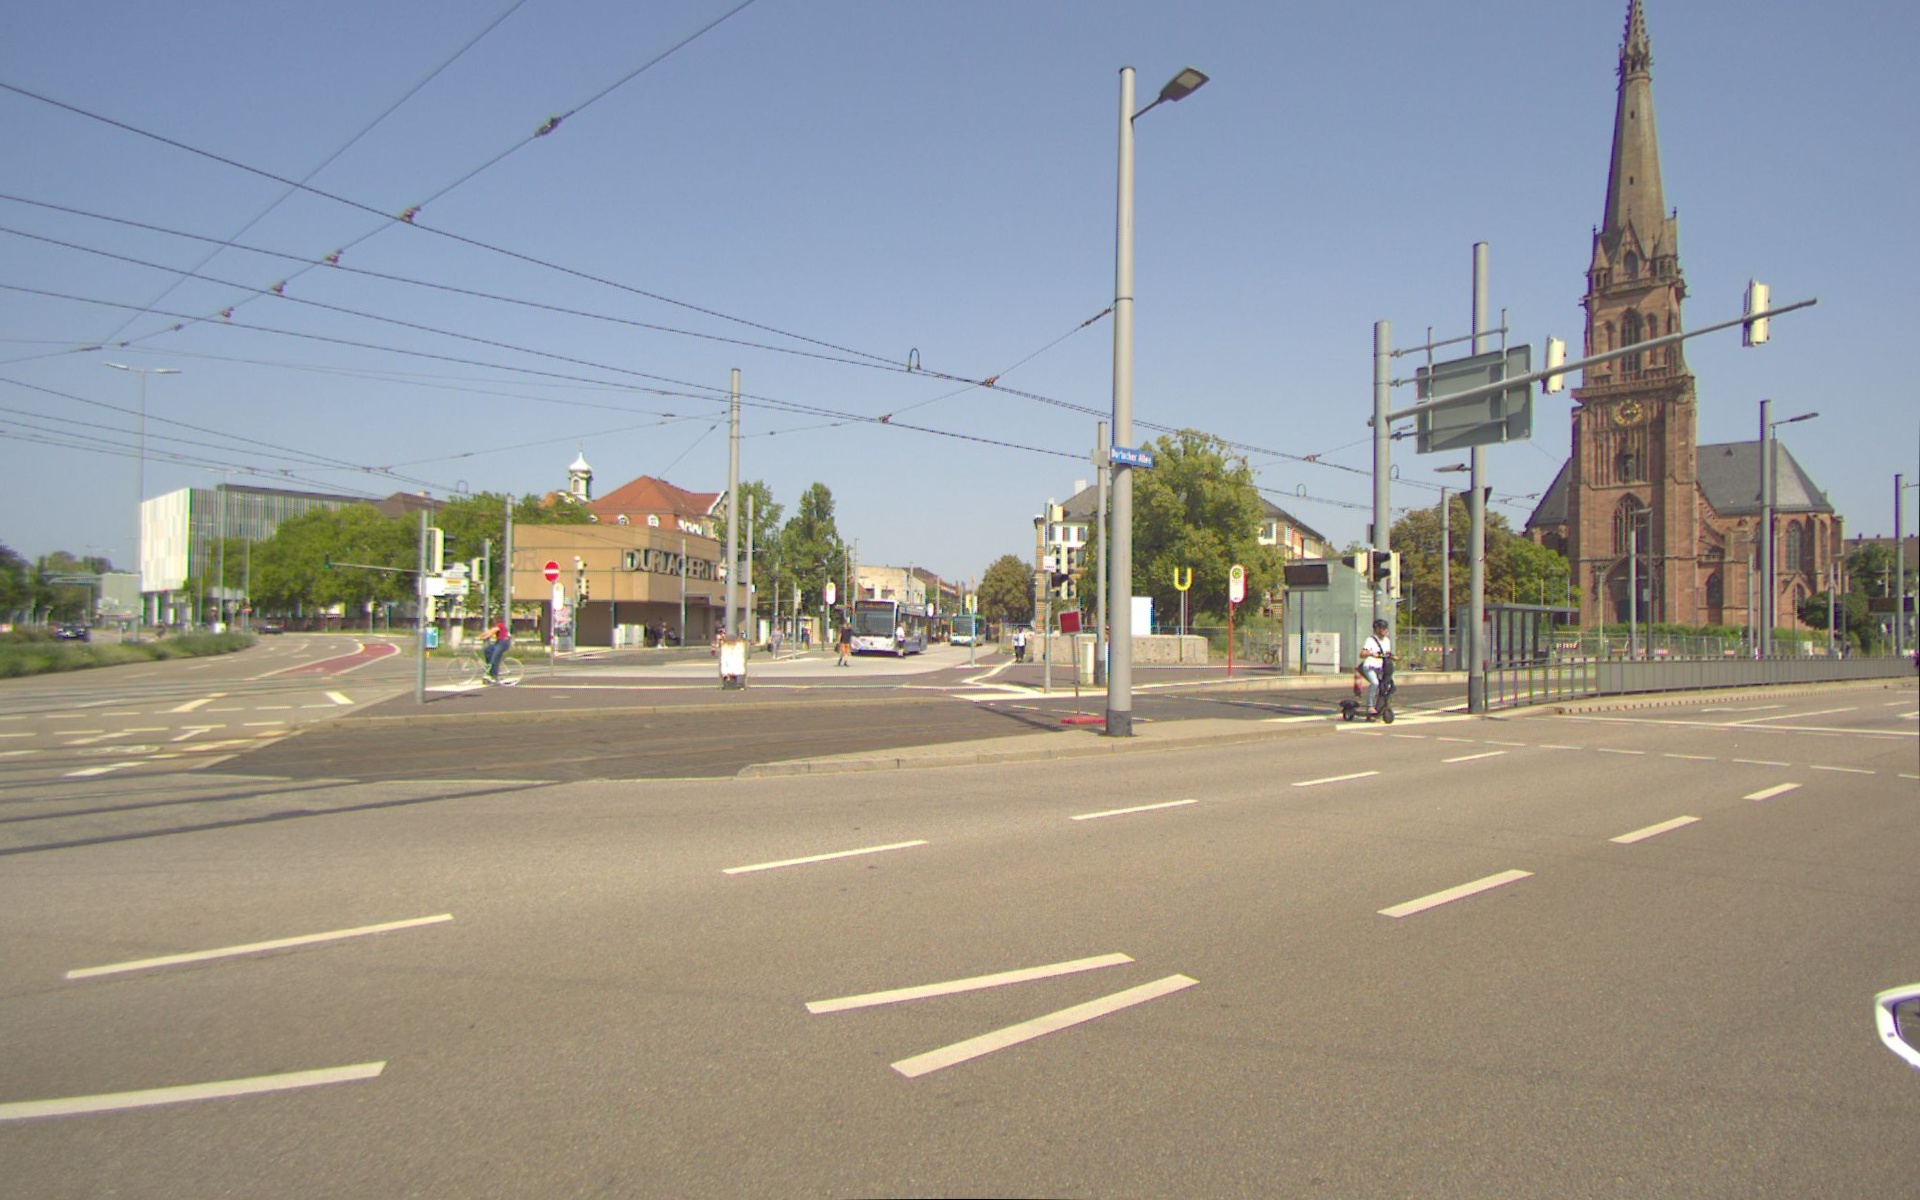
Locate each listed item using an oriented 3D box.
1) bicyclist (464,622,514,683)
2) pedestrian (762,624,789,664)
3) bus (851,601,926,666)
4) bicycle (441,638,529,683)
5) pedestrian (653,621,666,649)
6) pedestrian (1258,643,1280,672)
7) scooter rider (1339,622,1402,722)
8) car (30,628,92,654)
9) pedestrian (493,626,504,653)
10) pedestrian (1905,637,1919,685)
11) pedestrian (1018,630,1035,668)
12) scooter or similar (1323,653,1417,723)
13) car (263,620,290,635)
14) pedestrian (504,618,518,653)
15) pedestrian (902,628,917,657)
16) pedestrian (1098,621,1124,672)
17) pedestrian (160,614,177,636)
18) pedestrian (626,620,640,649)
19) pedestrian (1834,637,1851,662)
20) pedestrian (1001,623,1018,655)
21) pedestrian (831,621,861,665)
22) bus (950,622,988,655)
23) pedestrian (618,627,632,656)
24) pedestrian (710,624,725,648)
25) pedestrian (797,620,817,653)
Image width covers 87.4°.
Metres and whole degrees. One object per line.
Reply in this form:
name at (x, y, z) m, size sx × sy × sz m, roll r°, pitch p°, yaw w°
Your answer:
bicyclist at (-11.693, 1.290, 24.929) m, size 0.970 × 1.478 × 0.869 m, roll 2°, pitch -2°, yaw -34°
pedestrian at (-8.593, 2.044, 46.879) m, size 0.950 × 1.803 × 0.778 m, roll 3°, pitch -2°, yaw -35°
bus at (-4.023, 1.978, 59.531) m, size 2.623 × 3.375 × 12.766 m, roll 0°, pitch -2°, yaw 4°
bicycle at (-11.765, 1.490, 24.894) m, size 1.893 × 1.083 × 0.609 m, roll 2°, pitch -2°, yaw -34°
pedestrian at (-18.158, 2.139, 60.701) m, size 0.565 × 1.667 × 0.507 m, roll -1°, pitch 0°, yaw -35°
pedestrian at (16.314, 3.018, 53.115) m, size 0.602 × 1.505 × 1.698 m, roll 1°, pitch -2°, yaw -2°
scooter rider at (7.163, 1.230, 17.516) m, size 0.773 × 1.695 × 0.764 m, roll 2°, pitch -2°, yaw -41°
car at (-67.311, 3.027, 75.274) m, size 1.968 × 1.818 × 3.985 m, roll -1°, pitch 0°, yaw -18°
pedestrian at (-24.202, 2.081, 52.721) m, size 0.457 × 1.393 × 0.346 m, roll 1°, pitch -2°, yaw -35°
pedestrian at (35.844, 2.284, 37.444) m, size 1.060 × 1.774 × 0.755 m, roll 3°, pitch -2°, yaw -39°
pedestrian at (3.148, 2.328, 47.724) m, size 0.769 × 1.751 × 0.679 m, roll 0°, pitch -1°, yaw 2°
scooter or similar at (7.138, 1.516, 17.516) m, size 0.703 × 1.163 × 1.327 m, roll 2°, pitch -4°, yaw -39°
car at (-77.369, 3.127, 113.751) m, size 1.878 × 1.674 × 4.625 m, roll 1°, pitch -2°, yaw -27°
pedestrian at (-23.829, 1.893, 53.277) m, size 0.555 × 1.840 × 0.555 m, roll 1°, pitch -2°, yaw -35°
pedestrian at (-2.666, 2.240, 52.902) m, size 0.588 × 1.548 × 0.577 m, roll 1°, pitch -2°, yaw 23°
pedestrian at (5.078, 1.540, 33.764) m, size 0.564 × 1.681 × 0.798 m, roll -1°, pitch 0°, yaw 34°
pedestrian at (-67.457, 2.146, 85.632) m, size 0.957 × 1.808 × 1.108 m, roll 1°, pitch -1°, yaw -29°
pedestrian at (-19.580, 2.043, 60.183) m, size 0.566 × 1.698 × 0.588 m, roll -1°, pitch 0°, yaw 9°
pedestrian at (65.422, 3.671, 74.479) m, size 0.714 × 1.774 × 0.823 m, roll 3°, pitch -2°, yaw -37°
pedestrian at (2.444, 1.938, 49.747) m, size 0.769 × 1.569 × 0.679 m, roll 2°, pitch -1°, yaw 2°
pedestrian at (-4.778, 1.816, 42.091) m, size 0.950 × 1.803 × 0.778 m, roll 3°, pitch -2°, yaw -35°
bus at (1.049, 3.910, 104.192) m, size 2.491 × 3.072 × 12.442 m, roll -1°, pitch 0°, yaw 7°
pedestrian at (-19.767, 2.441, 59.284) m, size 0.566 × 1.698 × 0.588 m, roll -1°, pitch 0°, yaw 9°
pedestrian at (-17.798, 2.631, 73.771) m, size 0.779 × 1.702 × 0.856 m, roll -1°, pitch 0°, yaw 9°
pedestrian at (-8.736, 2.085, 57.377) m, size 0.777 × 1.803 × 0.951 m, roll 3°, pitch -2°, yaw -31°
